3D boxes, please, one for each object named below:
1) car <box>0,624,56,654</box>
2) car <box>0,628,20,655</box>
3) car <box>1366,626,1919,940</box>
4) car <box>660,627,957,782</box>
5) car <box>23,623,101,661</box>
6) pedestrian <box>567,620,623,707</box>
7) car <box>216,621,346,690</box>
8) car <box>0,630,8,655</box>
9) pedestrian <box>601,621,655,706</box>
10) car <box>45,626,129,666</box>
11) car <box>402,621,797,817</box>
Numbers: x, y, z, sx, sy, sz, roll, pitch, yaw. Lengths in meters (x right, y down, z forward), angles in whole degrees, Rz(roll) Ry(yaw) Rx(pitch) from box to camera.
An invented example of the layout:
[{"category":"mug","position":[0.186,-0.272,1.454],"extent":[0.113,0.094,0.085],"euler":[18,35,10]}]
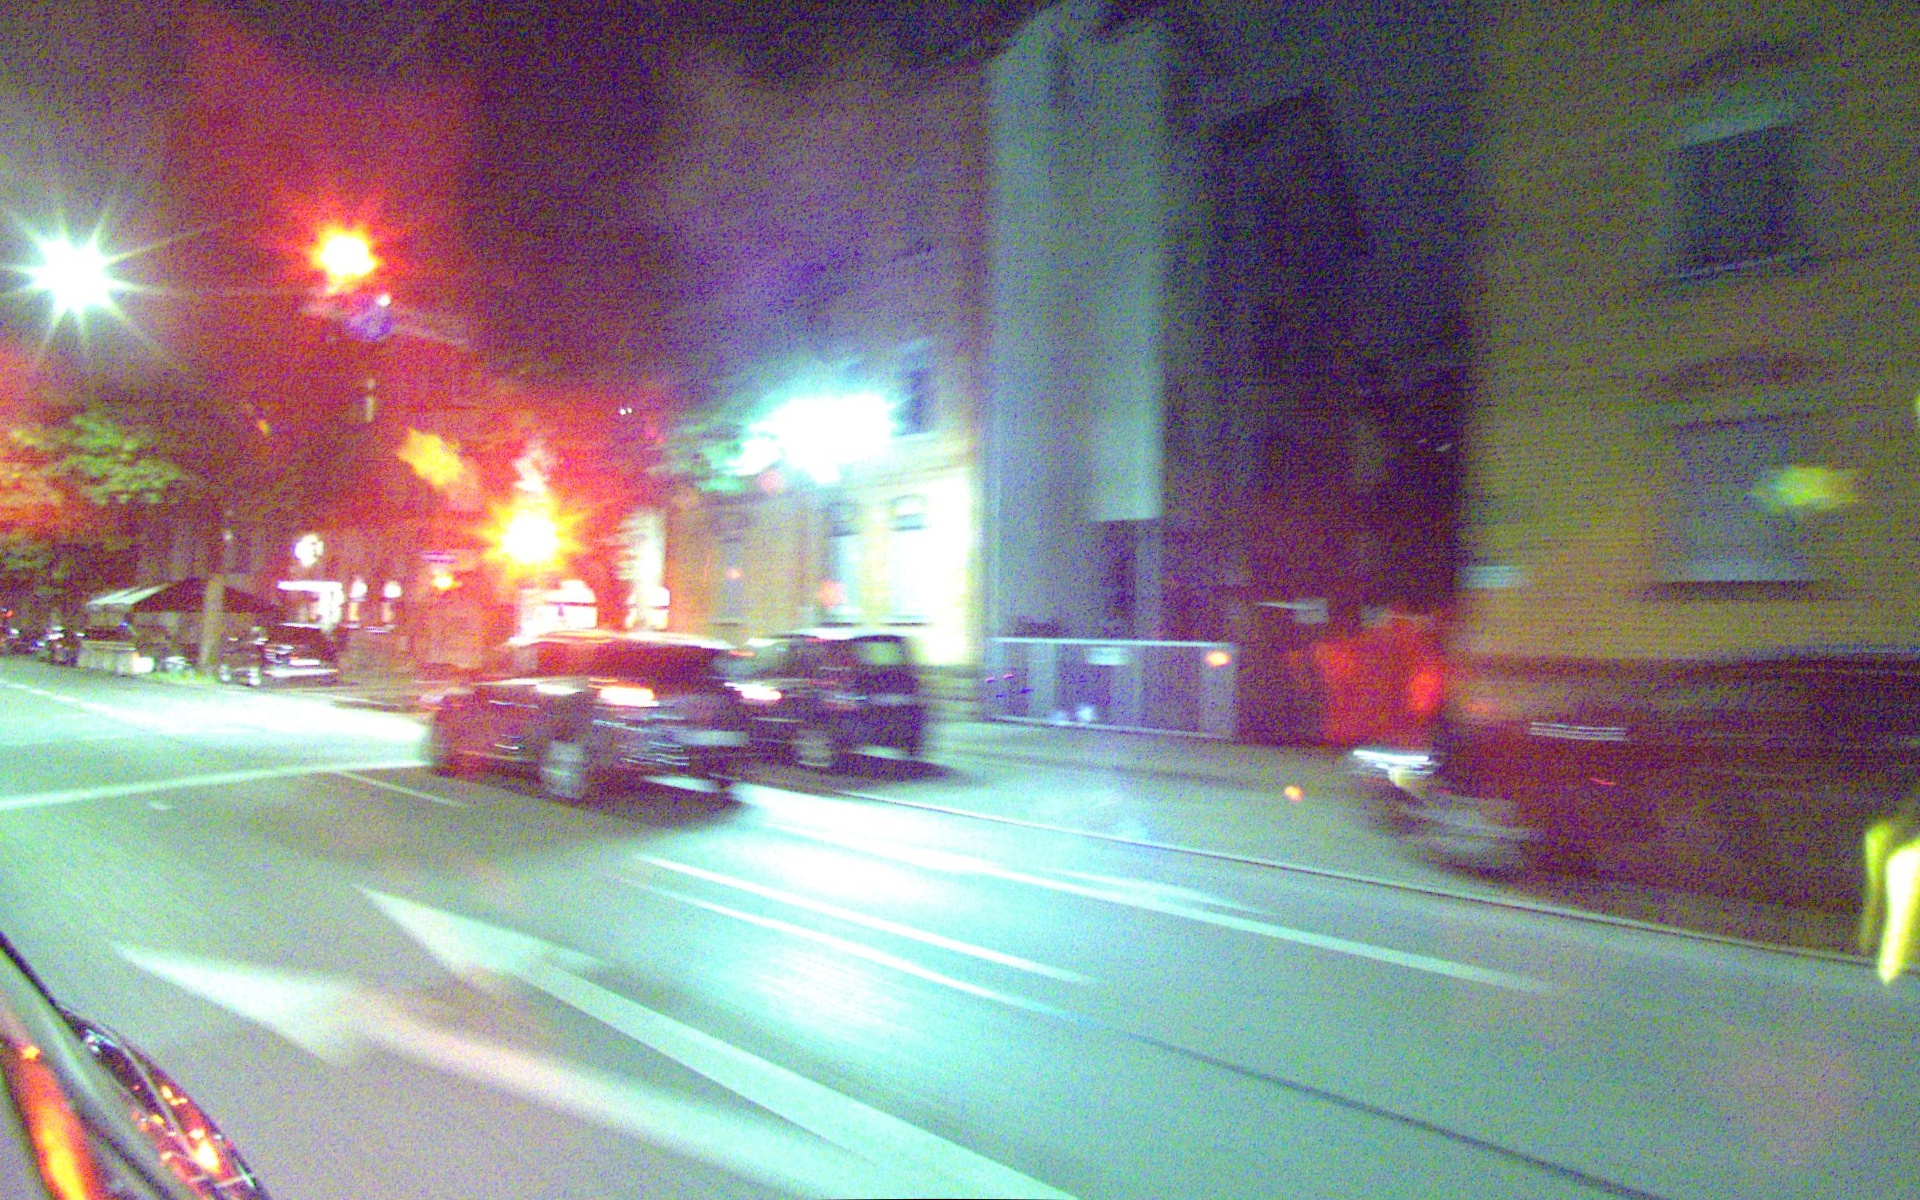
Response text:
[{"category":"car","position":[-47.416,1.942,51.154],"extent":[4.398,1.444,1.842],"euler":[-1,-3,39]},{"category":"car","position":[-53.649,2.276,56.293],"extent":[4.345,1.444,1.535],"euler":[-1,-2,41]},{"category":"car","position":[4.873,0.911,5.869],"extent":[4.327,1.503,1.766],"euler":[-2,-2,41]},{"category":"car","position":[-1.900,1.092,11.926],"extent":[1.574,1.502,3.701],"euler":[0,-1,-45]},{"category":"car","position":[-37.567,1.739,42.297],"extent":[4.470,1.490,1.841],"euler":[-1,-3,41]},{"category":"pedestrian","position":[-7.425,1.284,20.576],"extent":[0.700,1.703,1.126],"euler":[4,-4,-39]},{"category":"car","position":[-17.459,1.366,25.961],"extent":[4.023,1.608,1.865],"euler":[-1,-2,43]},{"category":"car","position":[-57.234,2.496,59.359],"extent":[4.347,1.444,1.621],"euler":[-1,-2,41]},{"category":"pedestrian","position":[-6.896,1.318,21.030],"extent":[0.700,1.703,0.999],"euler":[4,-4,-39]},{"category":"car","position":[-33.781,1.748,39.138],"extent":[4.441,1.444,1.841],"euler":[-1,-2,41]},{"category":"car","position":[-3.488,0.982,9.447],"extent":[3.998,1.440,1.697],"euler":[-2,-5,41]}]
